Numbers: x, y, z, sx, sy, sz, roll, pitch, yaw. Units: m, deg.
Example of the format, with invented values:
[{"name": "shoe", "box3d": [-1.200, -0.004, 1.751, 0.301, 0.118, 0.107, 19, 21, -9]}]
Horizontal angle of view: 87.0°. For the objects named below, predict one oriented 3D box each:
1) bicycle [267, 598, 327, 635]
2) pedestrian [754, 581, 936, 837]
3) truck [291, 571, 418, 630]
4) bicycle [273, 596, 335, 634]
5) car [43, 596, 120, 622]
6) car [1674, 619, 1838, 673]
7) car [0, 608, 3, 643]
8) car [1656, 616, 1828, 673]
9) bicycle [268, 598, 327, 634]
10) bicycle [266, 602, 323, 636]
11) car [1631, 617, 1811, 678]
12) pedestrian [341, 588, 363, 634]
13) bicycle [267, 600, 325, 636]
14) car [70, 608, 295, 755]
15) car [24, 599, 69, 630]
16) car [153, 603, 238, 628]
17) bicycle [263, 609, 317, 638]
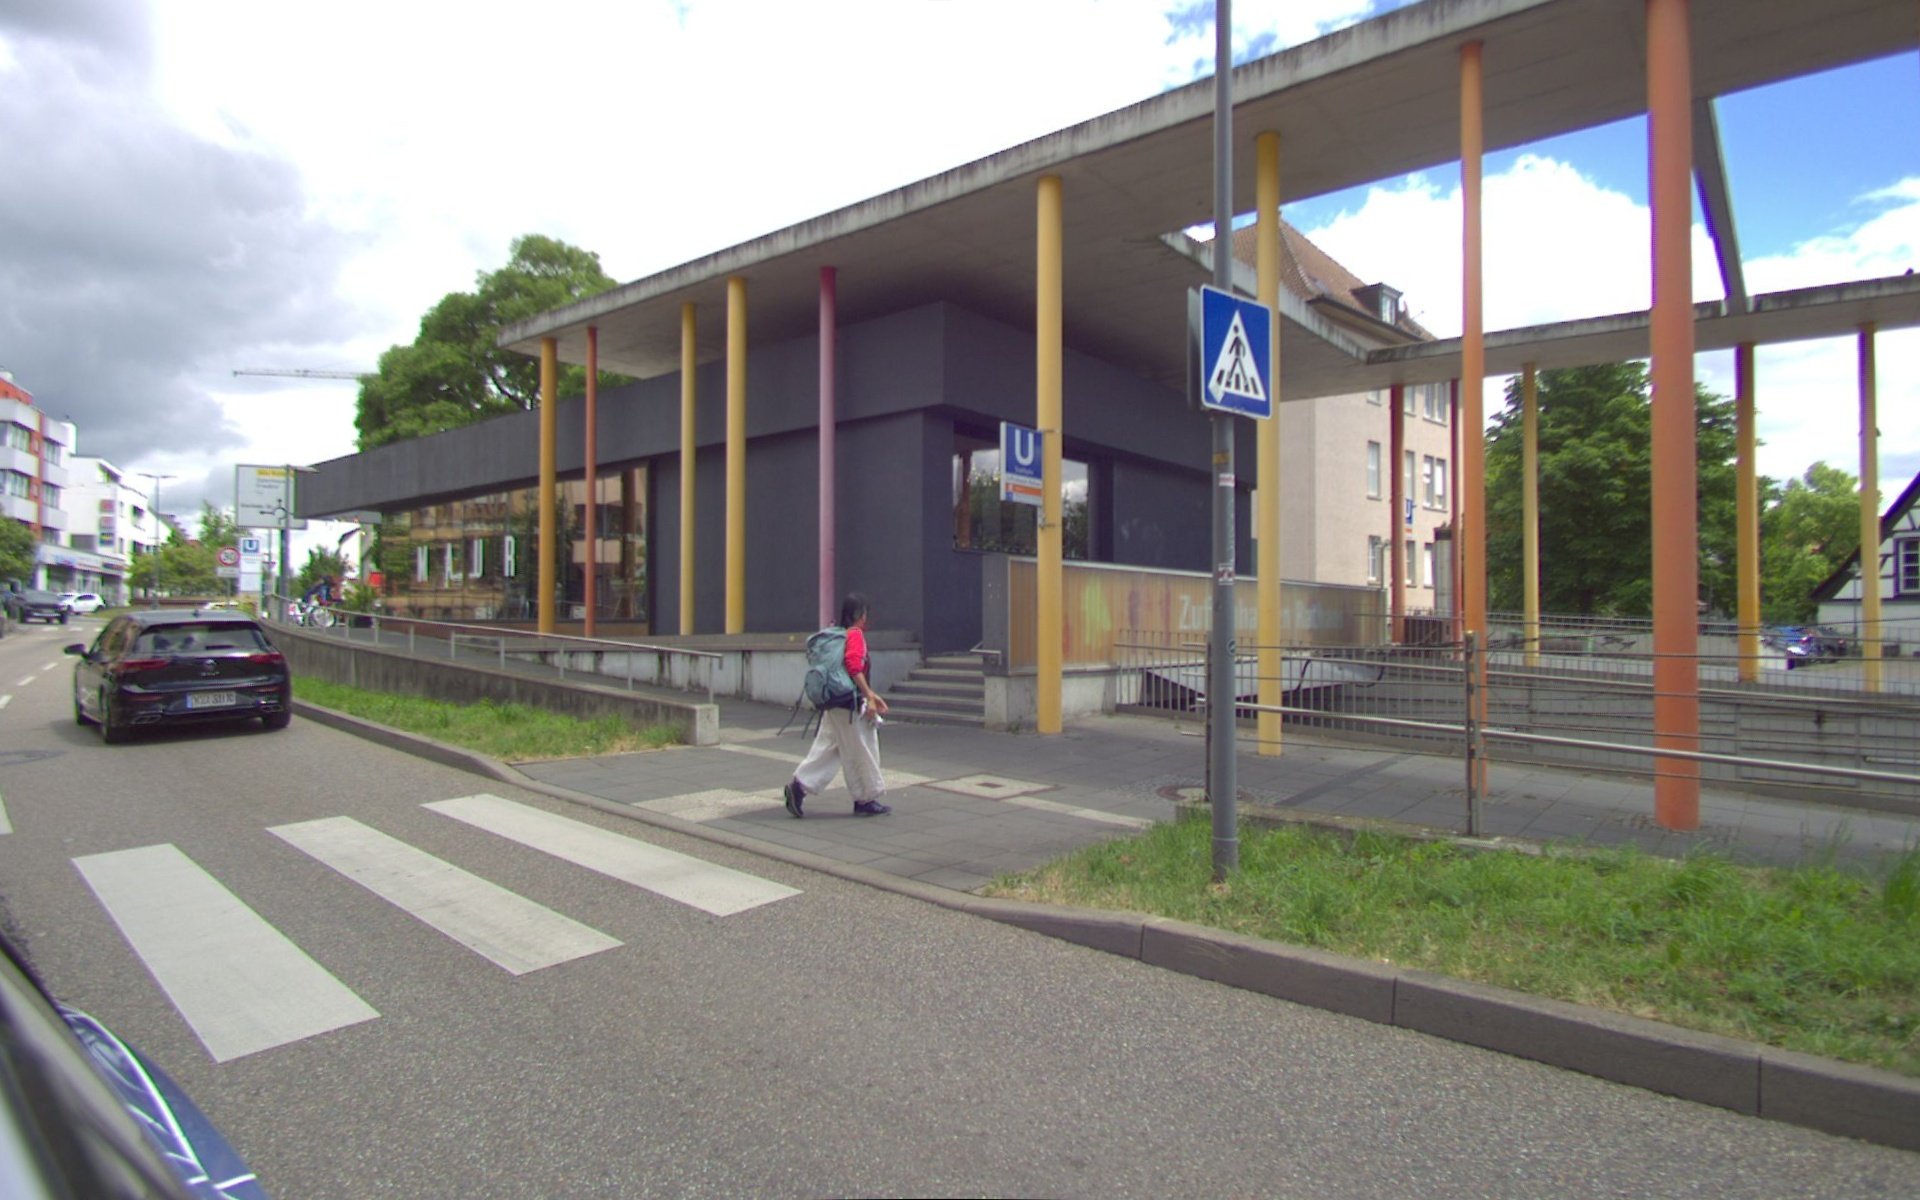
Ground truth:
[{"name": "bicycle", "box3d": [-20.870, 0.519, 31.879, 1.526, 1.136, 0.535, 2, -2, -37]}, {"name": "pedestrian", "box3d": [-0.768, 0.667, 6.848, 0.814, 1.577, 0.918, 1, 1, 37]}, {"name": "truck", "box3d": [-42.665, -0.041, 71.894, 2.645, 3.871, 10.849, 0, 1, -1]}, {"name": "bicycle", "box3d": [-20.162, 0.478, 31.108, 1.526, 1.136, 0.535, 2, -2, -37]}, {"name": "car", "box3d": [-60.345, 0.599, 69.596, 1.818, 1.675, 3.999, 0, 1, 1]}, {"name": "car", "box3d": [26.553, 1.520, 33.854, 1.875, 1.682, 4.004, 0, -2, -42]}, {"name": "car", "box3d": [-38.453, 1.006, 38.818, 1.967, 1.424, 4.746, 2, -1, -37]}, {"name": "car", "box3d": [24.755, 1.402, 32.138, 1.875, 1.682, 4.004, 0, -2, -42]}, {"name": "bicycle", "box3d": [-21.339, 0.518, 32.610, 1.526, 1.136, 0.535, 2, -2, -37]}, {"name": "bicycle", "box3d": [-22.216, 0.640, 33.803, 1.526, 1.136, 0.535, 2, -2, -37]}, {"name": "car", "box3d": [22.768, 1.408, 30.390, 1.875, 1.682, 4.004, 0, -2, -42]}, {"name": "pedestrian", "box3d": [-22.110, 0.401, 36.822, 0.650, 1.641, 0.802, 0, -2, -30]}, {"name": "bicycle", "box3d": [-21.703, 0.598, 33.101, 1.526, 1.136, 0.535, 2, -2, -37]}, {"name": "car", "box3d": [-9.634, 0.854, 12.405, 1.751, 1.475, 4.238, 0, -1, -44]}, {"name": "car", "box3d": [-51.031, 0.780, 56.562, 1.777, 1.592, 4.006, 0, 1, -41]}, {"name": "car", "box3d": [-45.549, 0.890, 60.349, 3.989, 1.409, 1.820, 0, 1, -39]}, {"name": "bicycle", "box3d": [-26.187, 0.937, 39.563, 1.665, 1.090, 0.516, 2, -3, -41]}]
